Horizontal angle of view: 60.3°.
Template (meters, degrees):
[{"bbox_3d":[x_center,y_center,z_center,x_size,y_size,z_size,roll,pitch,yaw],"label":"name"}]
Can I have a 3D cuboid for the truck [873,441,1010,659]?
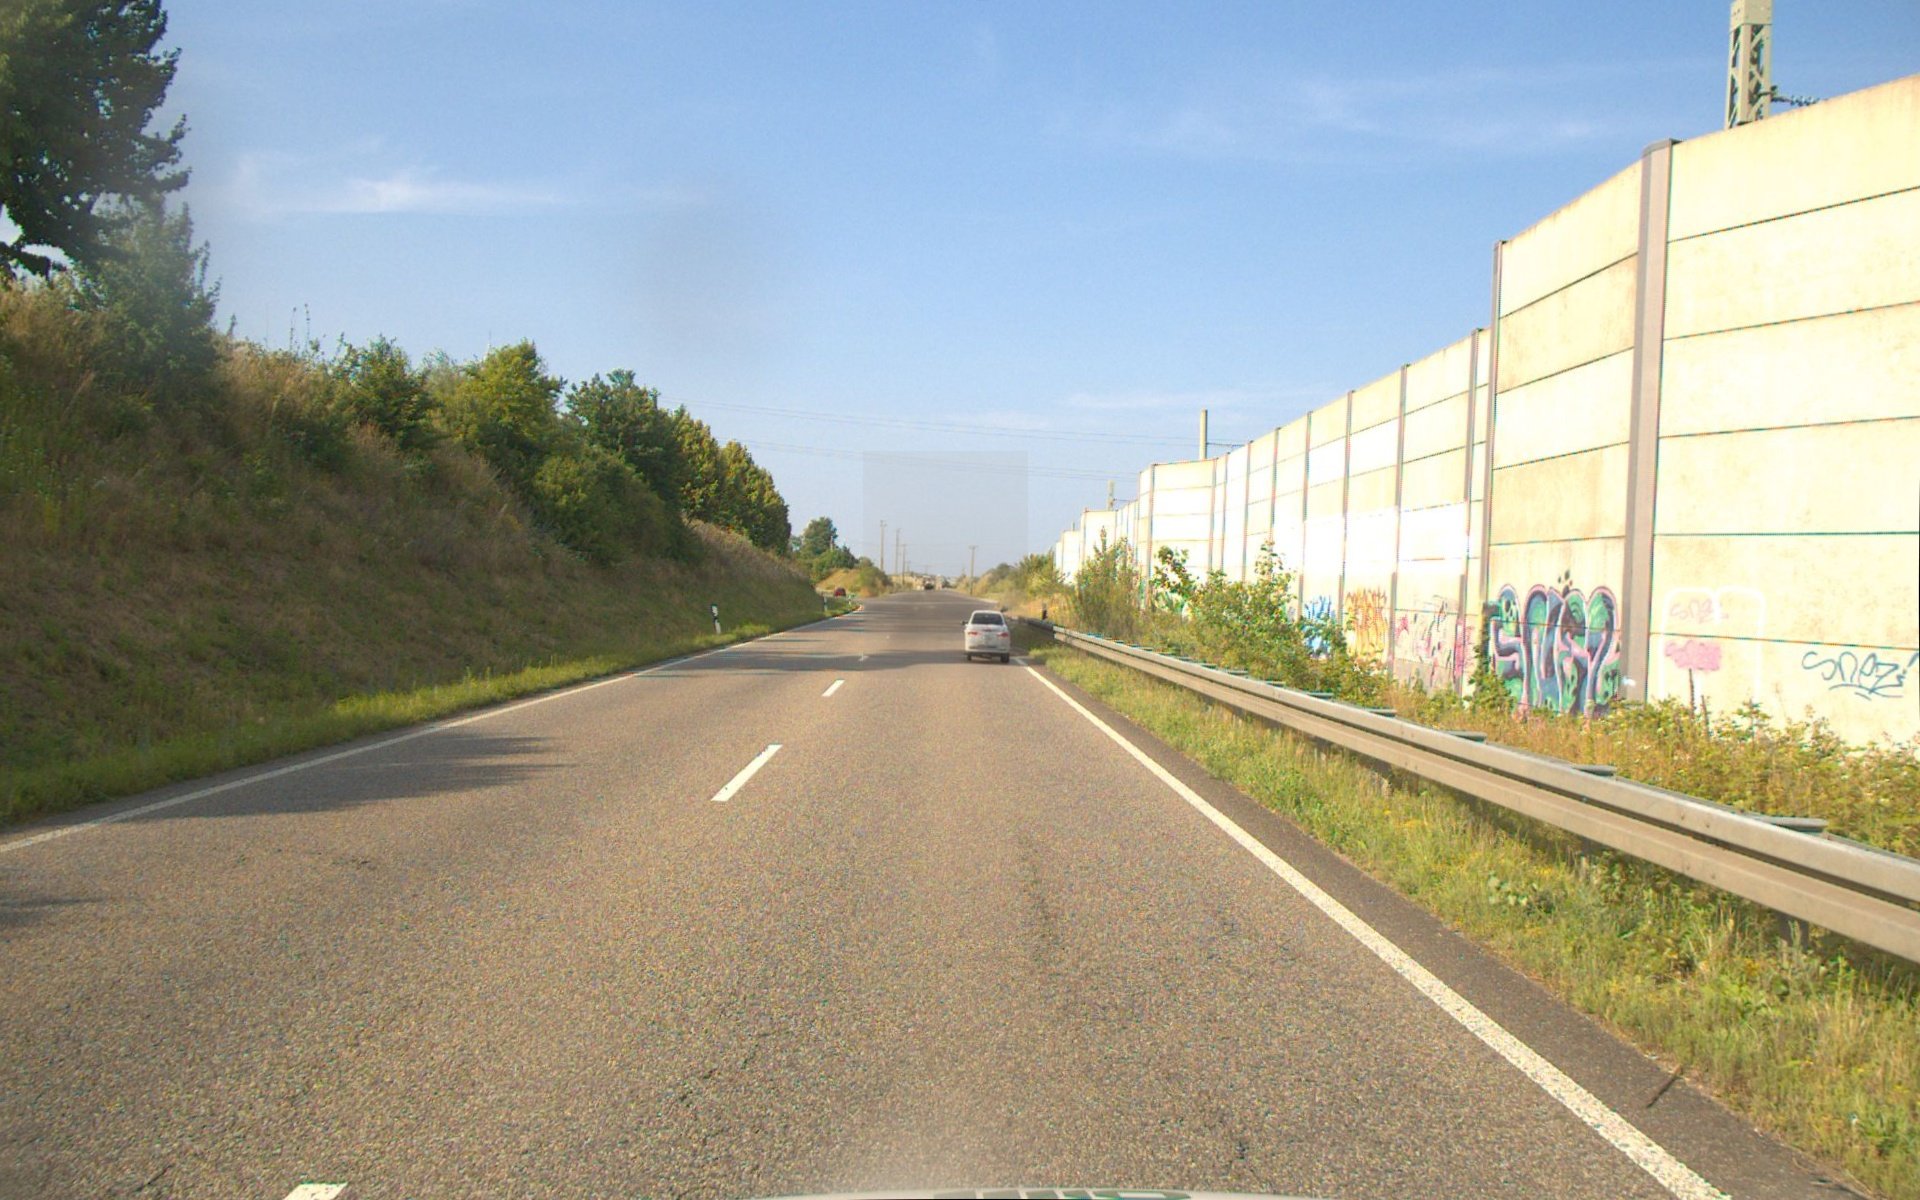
[{"bbox_3d":[-0.716,-1.283,45.824,3.225,5.179,12.032,1,1,-3],"label":"truck"}]

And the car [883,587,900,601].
[{"bbox_3d":[-8.418,-0.728,203.844,2.005,1.609,4.359,1,0,-1],"label":"car"}]
